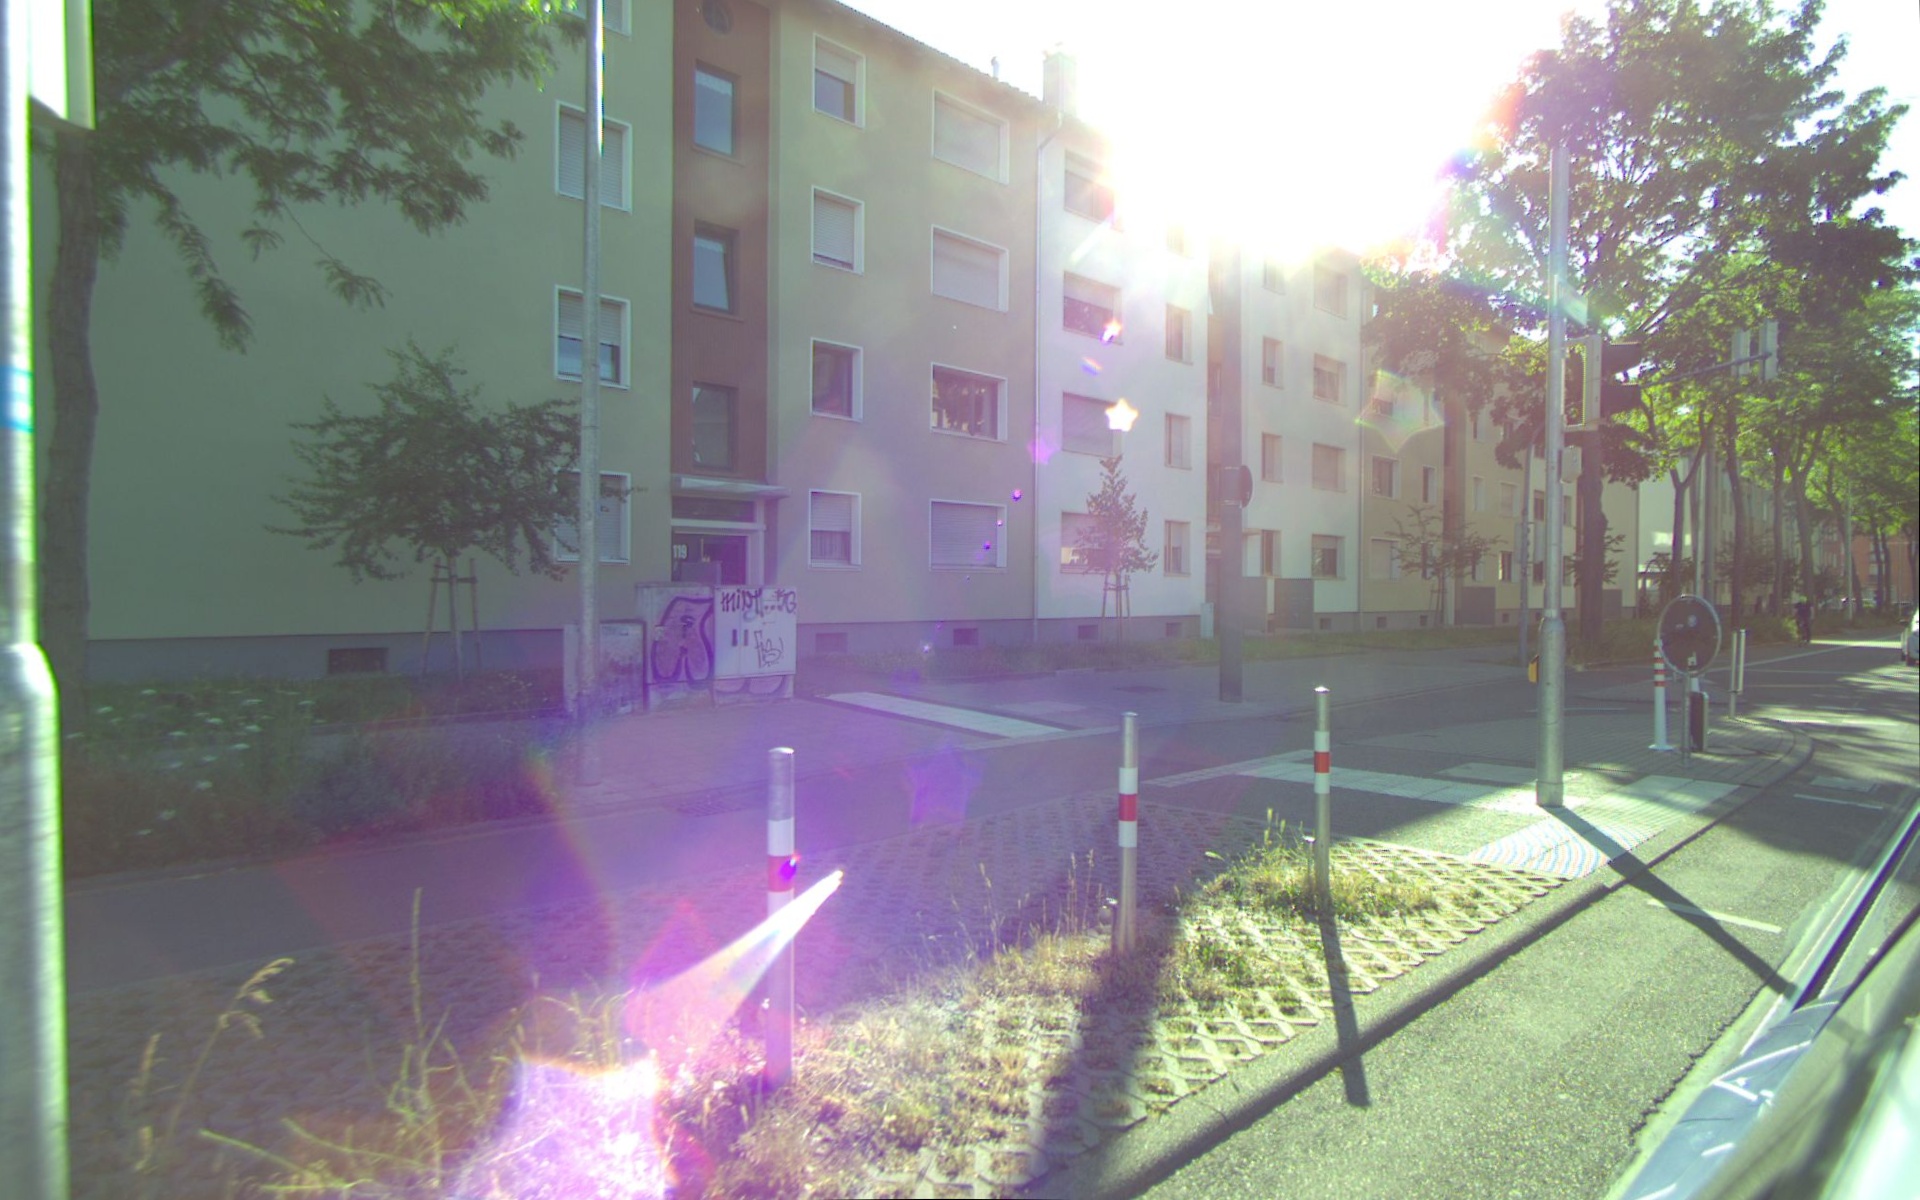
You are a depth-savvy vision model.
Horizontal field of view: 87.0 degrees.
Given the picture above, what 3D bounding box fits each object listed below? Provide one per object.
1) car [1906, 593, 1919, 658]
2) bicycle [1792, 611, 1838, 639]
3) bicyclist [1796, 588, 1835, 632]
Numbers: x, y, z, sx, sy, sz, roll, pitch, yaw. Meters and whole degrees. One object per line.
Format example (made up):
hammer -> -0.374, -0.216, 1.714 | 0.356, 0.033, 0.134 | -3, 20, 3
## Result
car -> 23.742, 0.591, 23.949 | 1.735, 1.477, 3.641 | 1, 1, 39
bicycle -> 29.785, 0.854, 35.244 | 2.158, 0.897, 0.827 | 0, 1, -38
bicyclist -> 29.819, 0.330, 35.268 | 1.235, 1.518, 0.819 | 0, 0, -38
